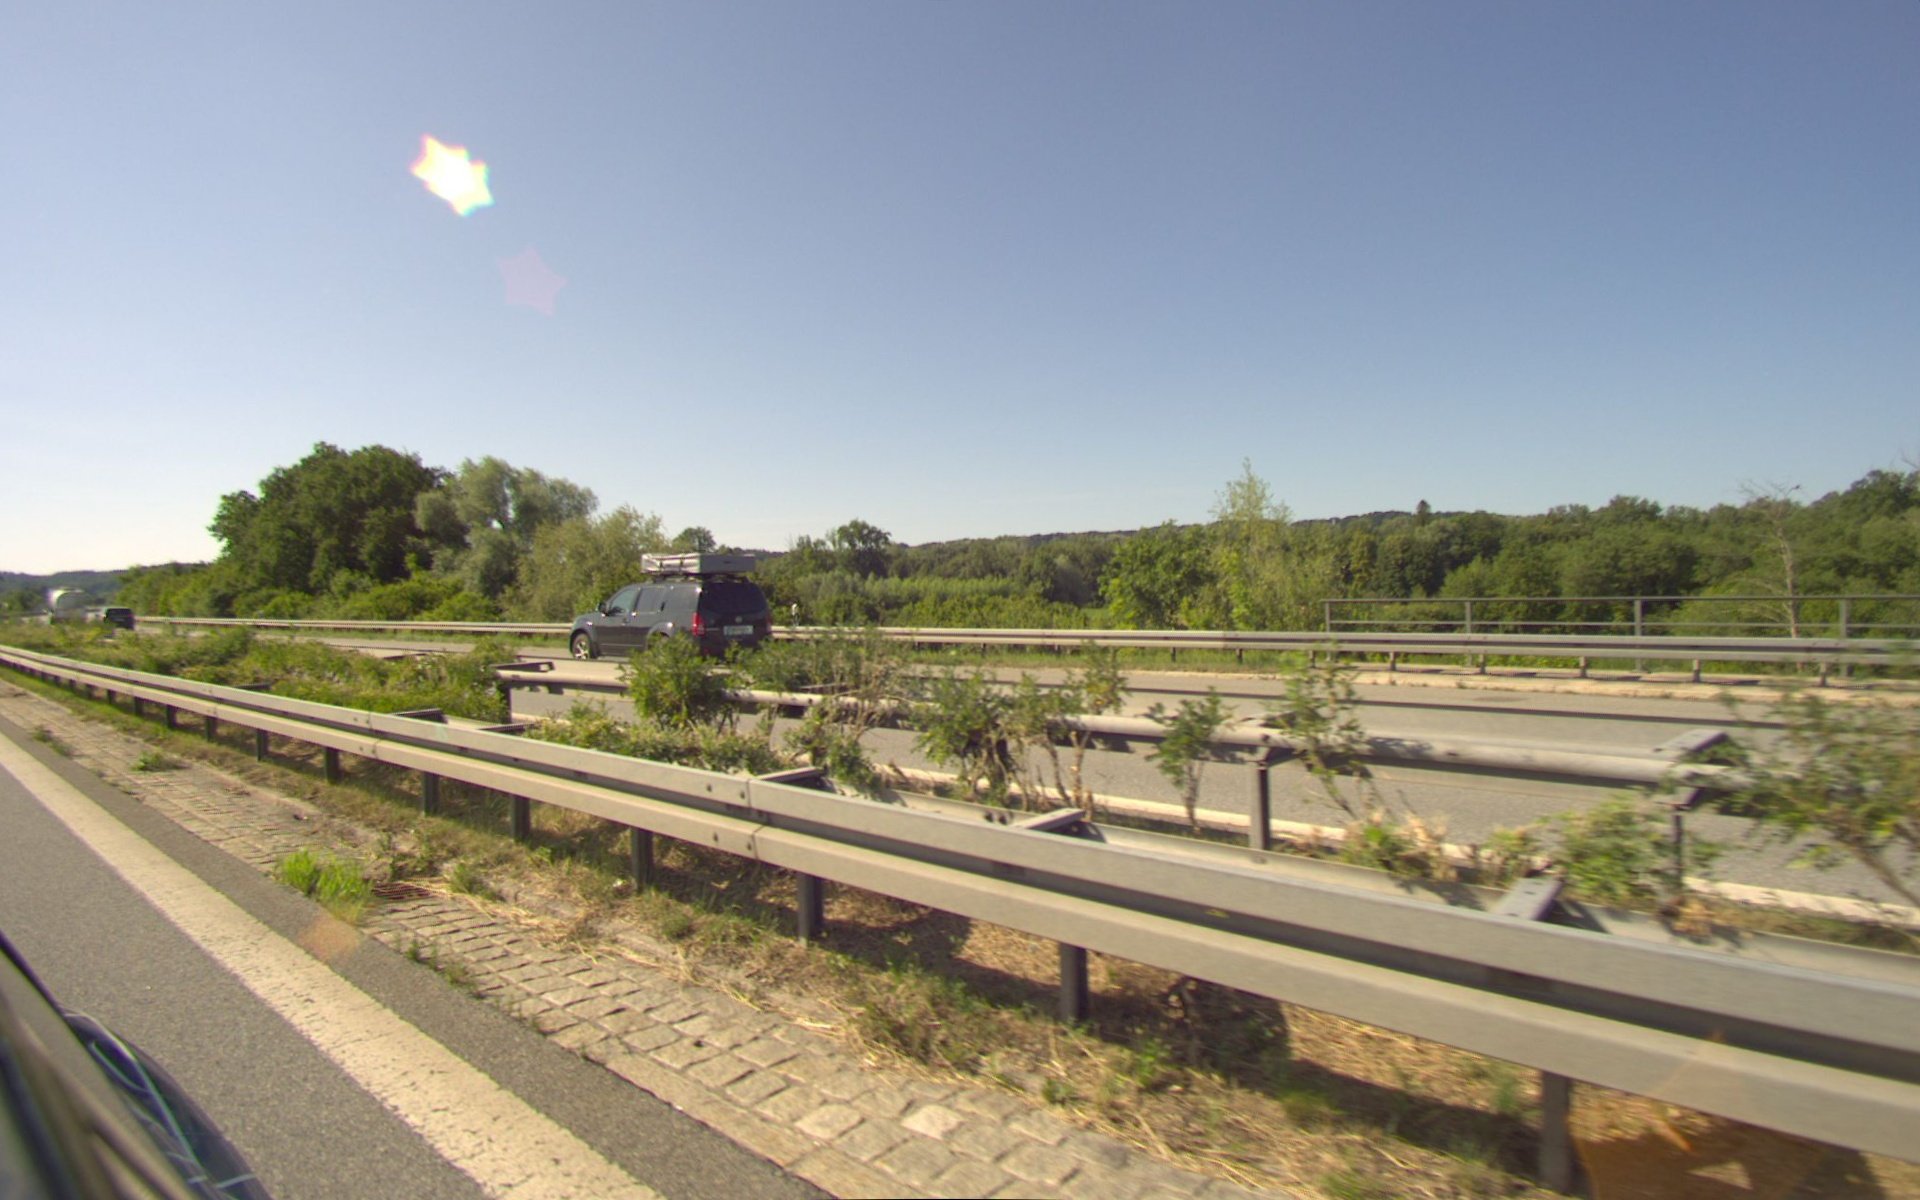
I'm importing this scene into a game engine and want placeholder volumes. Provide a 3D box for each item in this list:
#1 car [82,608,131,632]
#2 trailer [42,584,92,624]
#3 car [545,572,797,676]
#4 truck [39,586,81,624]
[{"bbox_3d":[-58.208,1.369,68.980,4.419,1.566,1.972,-1,-2,42],"label":"car"},{"bbox_3d":[-88.545,0.462,100.286,10.914,3.755,2.711,-1,-1,44],"label":"trailer"},{"bbox_3d":[-5.537,0.445,18.962,5.314,1.692,1.973,-1,-2,41],"label":"car"},{"bbox_3d":[-92.865,0.547,104.358,5.972,3.755,2.711,-1,-1,43],"label":"truck"}]
